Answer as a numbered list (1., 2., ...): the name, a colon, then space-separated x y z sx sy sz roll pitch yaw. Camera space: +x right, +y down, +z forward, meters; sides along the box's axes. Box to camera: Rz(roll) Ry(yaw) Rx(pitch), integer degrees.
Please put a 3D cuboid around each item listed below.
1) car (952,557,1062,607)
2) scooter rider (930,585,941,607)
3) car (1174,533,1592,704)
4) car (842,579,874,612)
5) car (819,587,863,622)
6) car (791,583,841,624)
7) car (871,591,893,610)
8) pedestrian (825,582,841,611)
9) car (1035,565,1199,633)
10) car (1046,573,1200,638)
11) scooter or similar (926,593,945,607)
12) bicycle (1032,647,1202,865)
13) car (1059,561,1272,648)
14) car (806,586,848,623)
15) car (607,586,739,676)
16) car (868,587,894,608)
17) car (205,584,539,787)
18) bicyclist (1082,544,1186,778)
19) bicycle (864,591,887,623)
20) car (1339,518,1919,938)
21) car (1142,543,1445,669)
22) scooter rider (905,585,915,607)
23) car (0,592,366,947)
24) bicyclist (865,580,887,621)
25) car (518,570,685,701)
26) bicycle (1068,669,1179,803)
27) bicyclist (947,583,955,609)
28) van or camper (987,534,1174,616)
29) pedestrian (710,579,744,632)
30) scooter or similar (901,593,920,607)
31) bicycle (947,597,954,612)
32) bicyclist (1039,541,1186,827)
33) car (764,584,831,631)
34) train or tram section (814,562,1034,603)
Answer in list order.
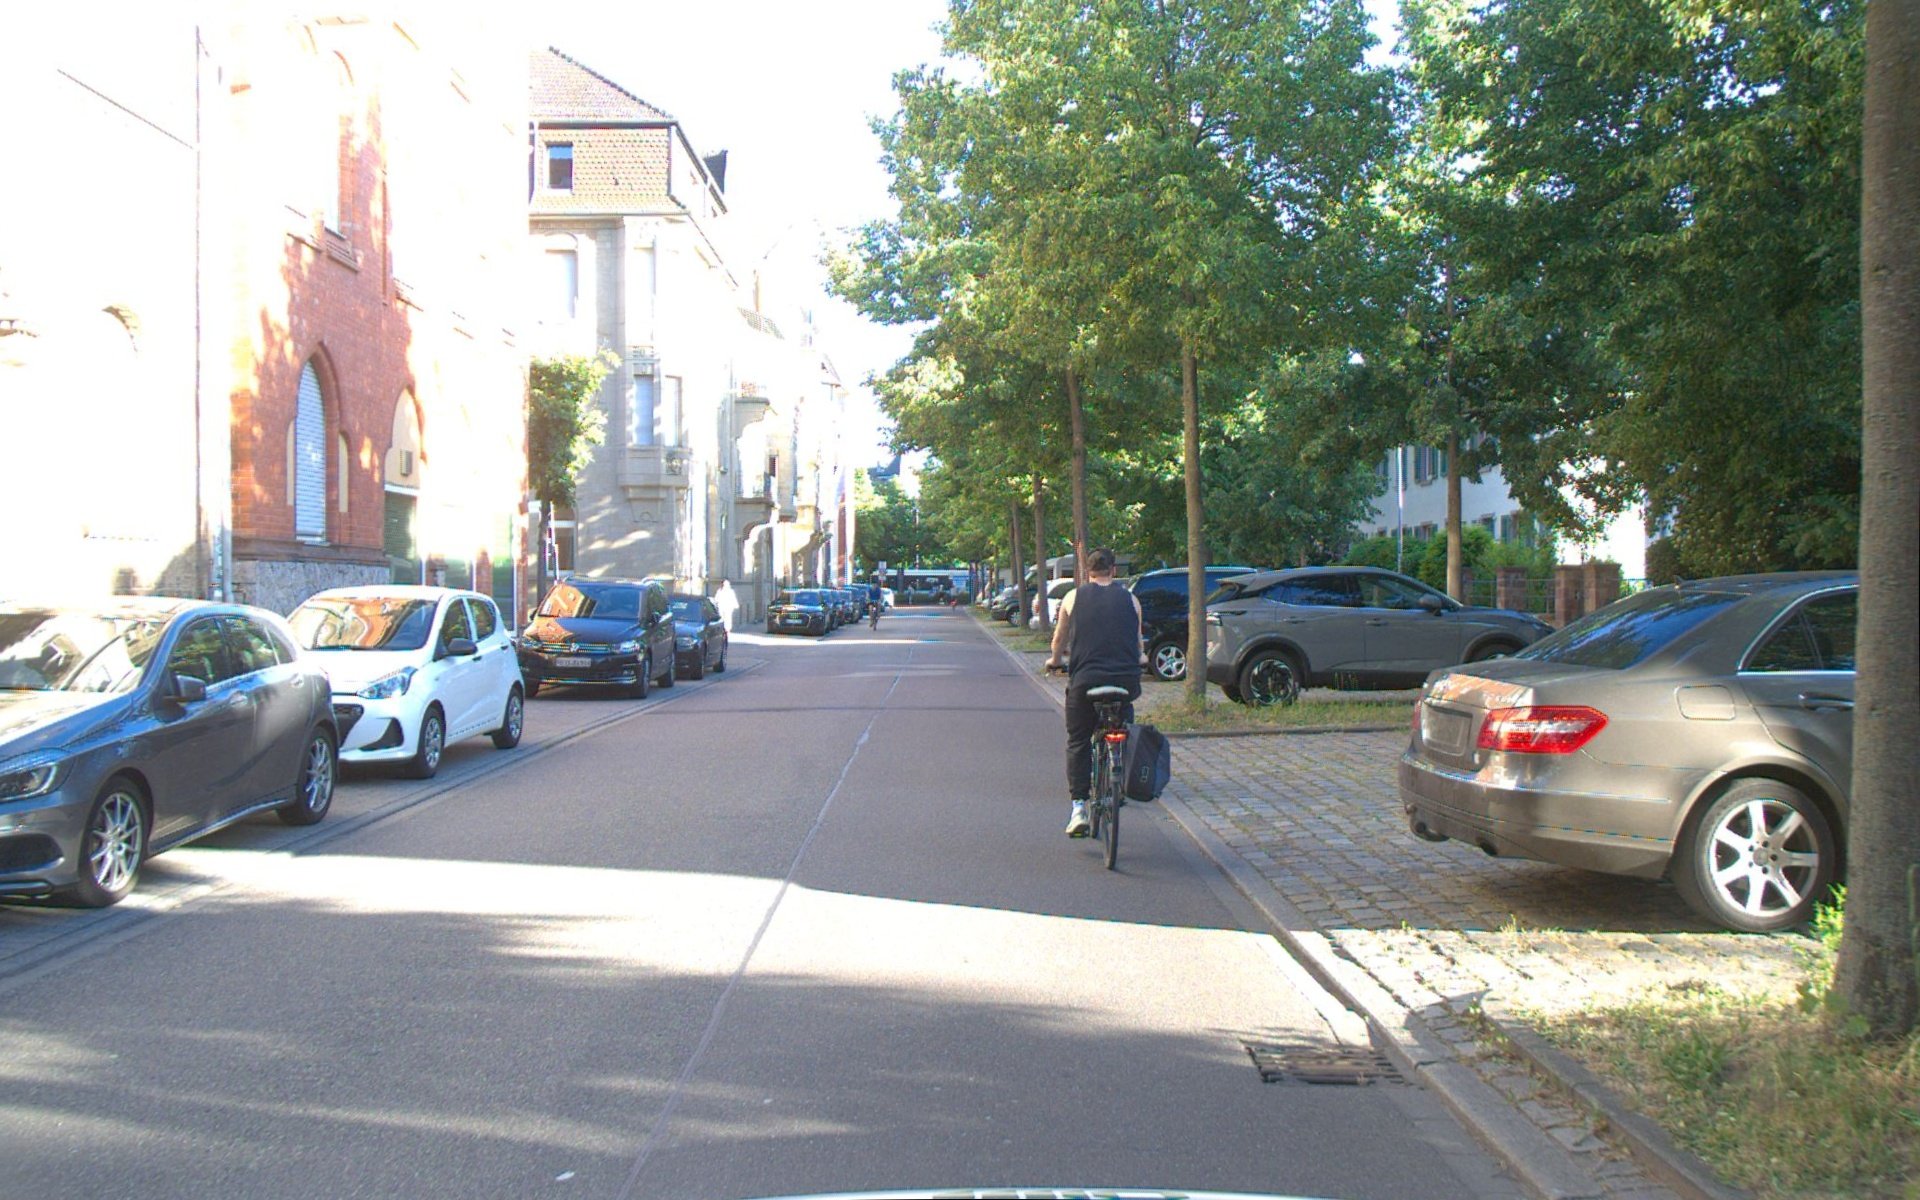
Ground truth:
1. car: 3.058 -1.174 109.128 7.005 3.030 2.463 -2 0 -4
2. scooter rider: -2.112 -0.321 141.310 0.854 1.873 0.670 1 -1 -6
3. car: 4.911 0.201 19.624 4.386 1.662 1.875 -4 0 -2
4. car: -5.998 -0.286 97.655 1.607 1.814 4.354 2 1 0
5. car: -5.371 0.170 75.099 1.641 1.455 4.550 2 1 0
6. car: -5.346 0.126 61.909 1.662 1.479 4.026 0 0 -2
7. car: -6.257 0.030 132.707 1.551 1.399 4.131 2 1 0
8. pedestrian: -7.939 -0.193 103.262 0.919 1.773 0.735 1 -1 1
9. car: 4.495 -0.034 47.807 4.524 1.739 1.833 -2 0 1
10. car: 4.436 0.122 45.408 3.985 1.502 1.694 -3 1 0
11. scooter or similar: -2.062 0.037 141.311 1.568 1.167 0.677 1 -1 -6
12. bicycle: 0.862 0.839 9.593 0.722 1.072 1.955 2 0 -2
13. car: 4.634 0.092 37.643 4.453 1.662 1.810 -4 0 -7
14. car: -5.559 0.154 69.478 1.596 1.478 3.836 1 1 -3
15. car: -5.057 0.518 29.644 1.602 1.435 4.332 2 0 -1
16. car: -5.490 -0.210 115.107 1.551 1.367 4.131 2 1 0
17. car: -4.918 0.632 14.339 1.534 1.496 3.592 1 1 1
18. bicyclist: 1.269 0.427 12.218 0.675 1.655 0.998 0 0 1
19. bicycle: -3.067 0.251 60.153 0.742 1.127 1.907 -1 0 -1
20. car: 4.391 0.413 7.666 4.741 1.566 1.893 -4 0 -3
21. car: 5.336 0.082 26.917 4.487 1.706 1.907 -3 0 1
22. scooter rider: -4.384 -0.353 144.581 0.854 1.873 0.670 1 -1 -6
23. car: -4.826 0.726 9.202 1.643 1.468 4.110 1 1 -2
24. bicyclist: -3.067 0.026 60.161 0.744 1.479 0.948 -1 0 -1
25. car: -5.106 0.471 24.073 1.636 1.710 4.348 1 0 -3
26. bicycle: 1.185 0.976 12.293 0.620 0.813 1.832 -1 1 -1
27. bicyclist: -0.636 -0.283 117.829 0.476 1.774 0.655 1 -1 -1
28. van or camper: 4.650 -0.965 64.546 7.000 2.693 2.465 -3 0 1
29. pedestrian: -7.249 0.165 51.573 0.870 1.604 1.053 -1 1 -1
30. scooter or similar: -4.354 0.005 144.576 1.568 1.167 0.677 1 -1 -6
31. bicycle: -0.647 0.348 117.710 0.488 1.023 1.473 1 -1 -1
32. bicyclist: 0.871 0.472 9.651 0.715 1.575 0.884 2 -1 -2
33. car: -5.413 0.231 55.583 1.774 1.451 4.897 2 0 -1
34. train or tram section: -3.623 -1.802 175.077 23.483 3.773 4.255 1 0 -23
